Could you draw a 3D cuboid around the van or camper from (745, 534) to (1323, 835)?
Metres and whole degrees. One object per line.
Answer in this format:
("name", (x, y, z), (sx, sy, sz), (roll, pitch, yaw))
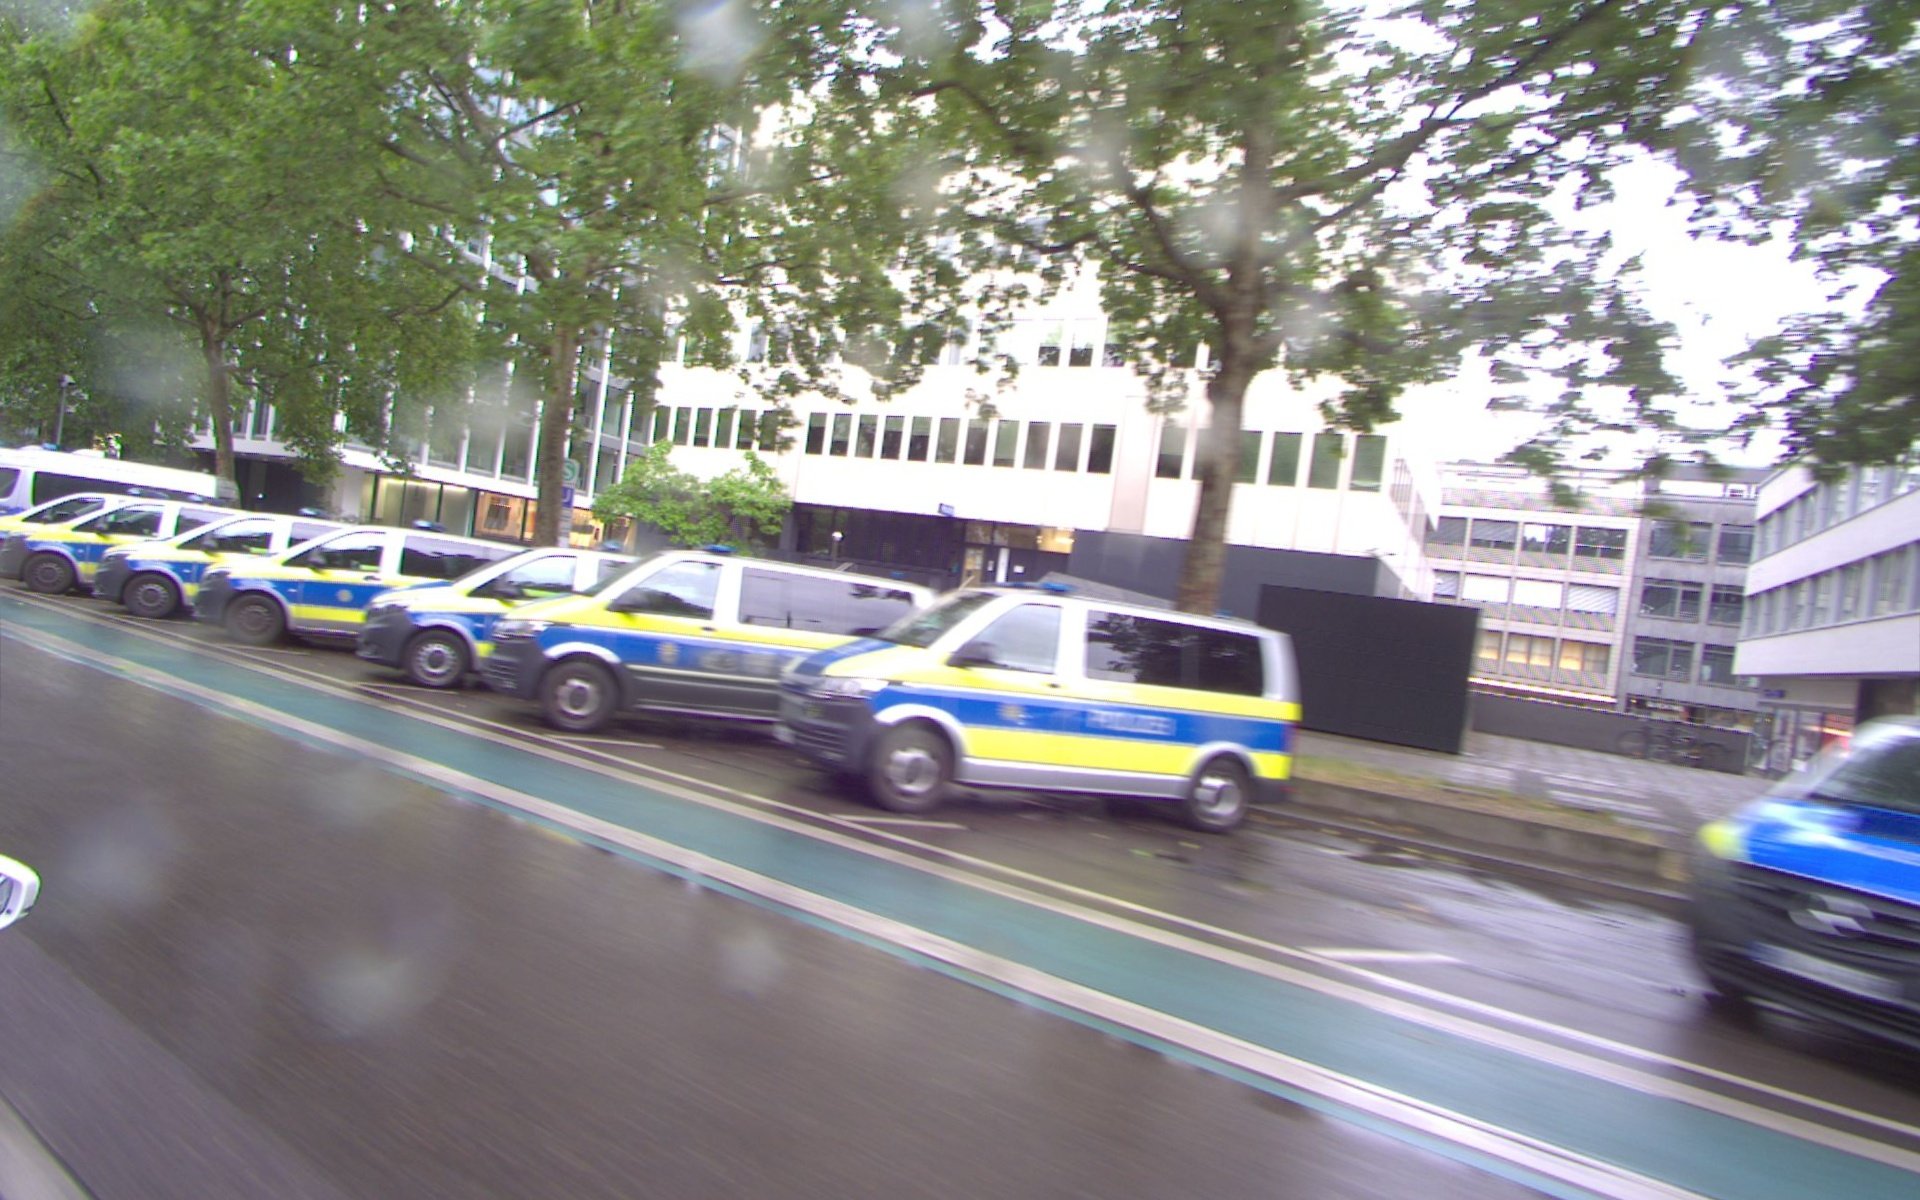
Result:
("van or camper", (0.689, 0.816, 9.240), (4.790, 2.021, 1.859), (8, -1, -22))

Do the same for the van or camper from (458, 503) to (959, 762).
("van or camper", (-2.659, 0.427, 11.011), (4.732, 2.034, 1.990), (8, -1, -22))

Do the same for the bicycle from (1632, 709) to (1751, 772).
("bicycle", (18.505, 3.543, 25.525), (2.248, 1.187, 0.688), (7, -1, 29))

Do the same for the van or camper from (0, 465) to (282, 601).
("van or camper", (-16.901, -1.303, 20.215), (4.951, 2.037, 1.990), (8, -2, -23))

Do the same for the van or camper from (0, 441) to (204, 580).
("van or camper", (-21.889, -2.225, 23.846), (5.737, 2.709, 2.137), (8, -1, -21))

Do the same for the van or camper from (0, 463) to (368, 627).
("van or camper", (-13.933, -0.883, 18.202), (5.145, 2.014, 1.990), (9, -2, -24))

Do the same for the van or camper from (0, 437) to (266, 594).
("van or camper", (-19.050, -1.872, 22.108), (5.736, 2.712, 1.989), (8, 0, -23))

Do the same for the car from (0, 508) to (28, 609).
("car", (-14.994, -0.747, 14.877), (2.649, 1.404, 1.051), (7, 0, 32))

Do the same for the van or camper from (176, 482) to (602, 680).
("van or camper", (-8.117, -0.203, 14.984), (5.038, 2.049, 2.096), (8, -1, -21))

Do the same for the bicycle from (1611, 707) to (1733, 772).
("bicycle", (17.261, 3.363, 24.459), (2.249, 1.187, 0.687), (7, 0, 32))

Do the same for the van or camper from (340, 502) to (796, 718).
("van or camper", (-4.907, 0.209, 13.046), (4.964, 2.019, 1.988), (8, -1, -26))

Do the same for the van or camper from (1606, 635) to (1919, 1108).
("van or camper", (6.519, 1.609, 5.843), (5.023, 2.042, 1.987), (9, -2, -22))
